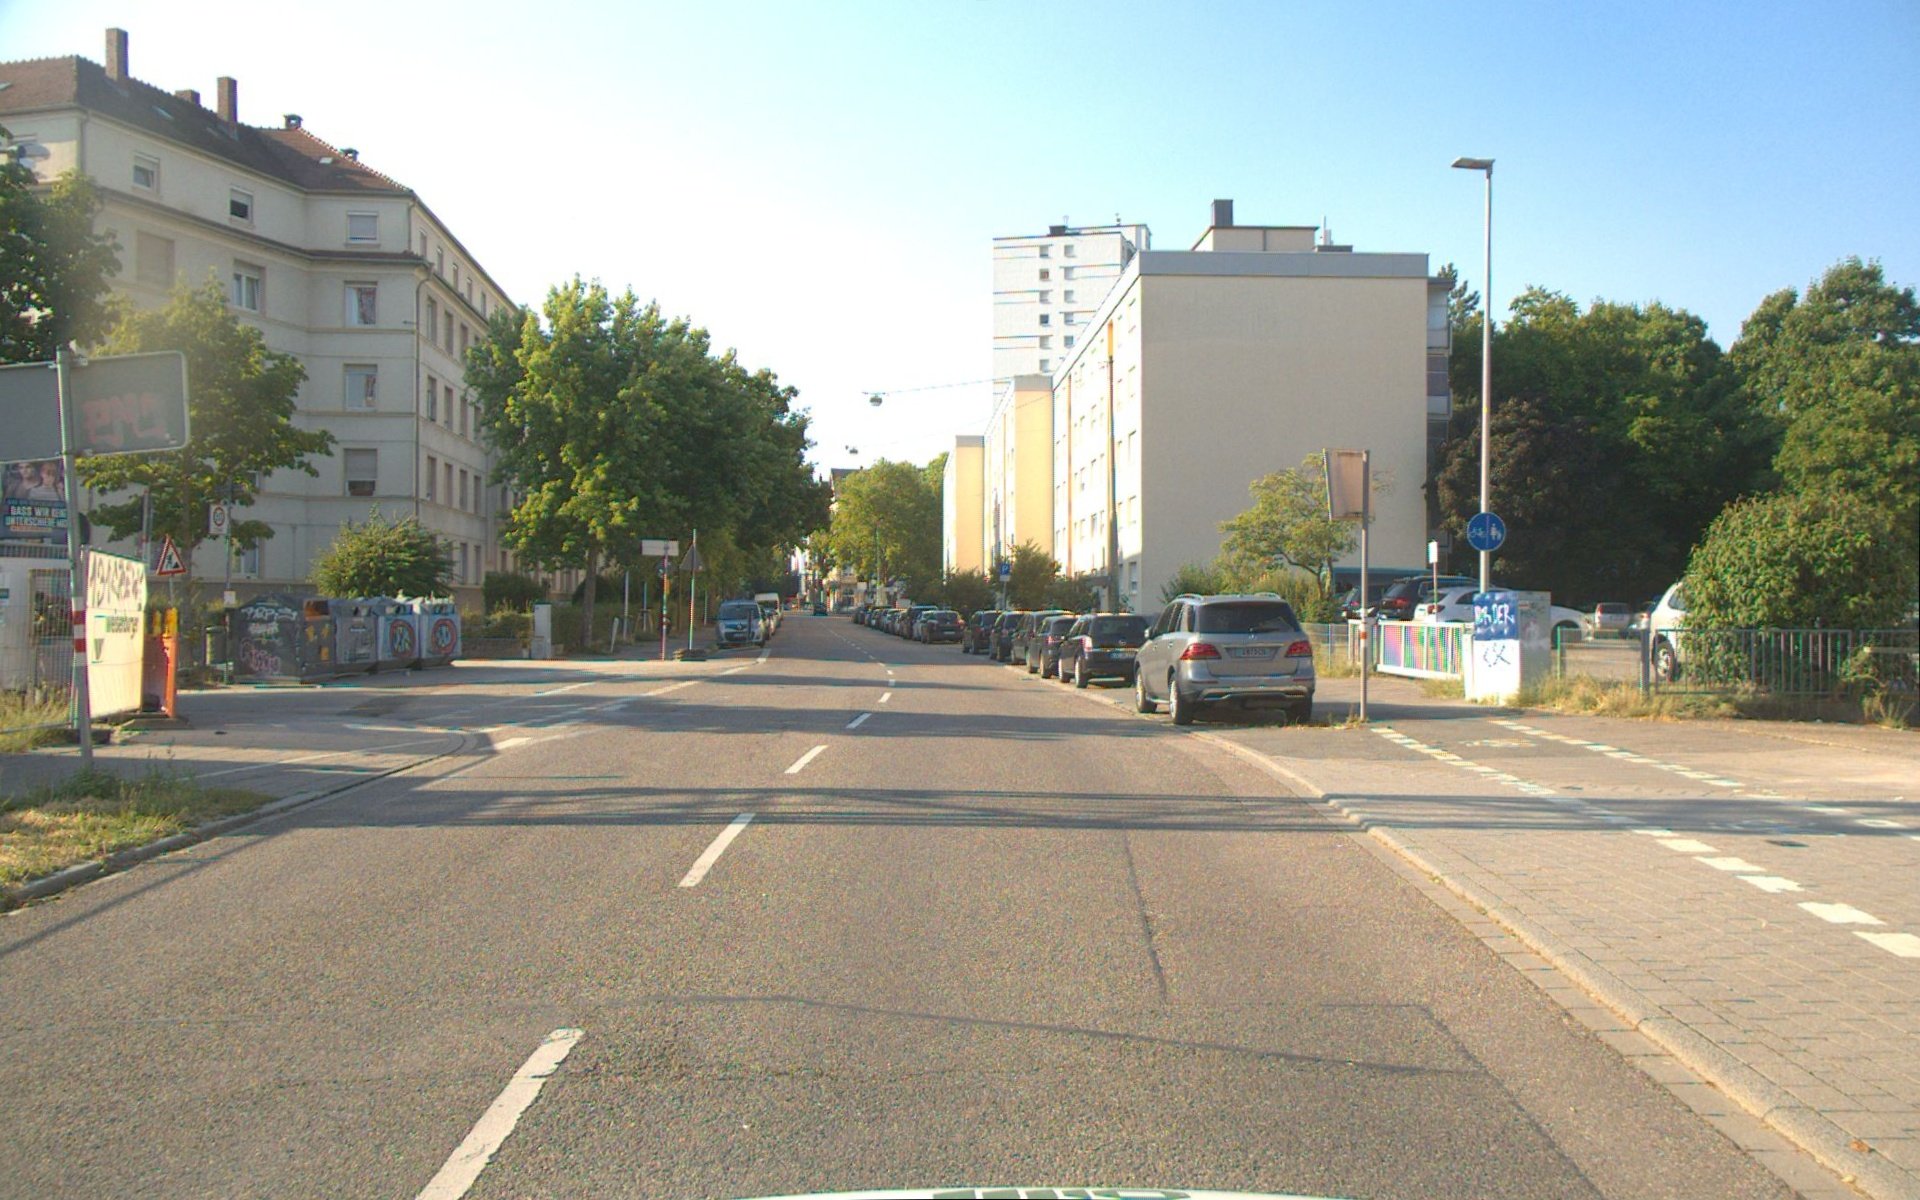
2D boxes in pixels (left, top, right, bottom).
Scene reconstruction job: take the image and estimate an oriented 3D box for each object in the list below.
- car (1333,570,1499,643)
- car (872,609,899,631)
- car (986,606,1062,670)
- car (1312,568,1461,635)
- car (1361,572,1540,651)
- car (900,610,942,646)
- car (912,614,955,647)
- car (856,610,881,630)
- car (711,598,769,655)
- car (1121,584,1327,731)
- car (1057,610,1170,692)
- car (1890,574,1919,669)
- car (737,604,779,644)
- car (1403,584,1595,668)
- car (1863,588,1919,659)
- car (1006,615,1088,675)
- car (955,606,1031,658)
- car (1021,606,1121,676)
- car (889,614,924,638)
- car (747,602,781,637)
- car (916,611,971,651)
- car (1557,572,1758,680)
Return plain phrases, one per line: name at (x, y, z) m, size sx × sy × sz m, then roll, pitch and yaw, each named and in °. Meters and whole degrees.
car at (12.421, 0.200, 45.230) m, size 3.908 × 1.825 × 1.998 m, roll 2°, pitch -2°, yaw -4°
car at (-5.657, 1.553, 125.596) m, size 1.801 × 1.528 × 4.167 m, roll 2°, pitch -2°, yaw -5°
car at (1.937, 1.176, 51.125) m, size 1.864 × 1.810 × 4.578 m, roll 2°, pitch -2°, yaw -3°
car at (12.874, 0.080, 50.048) m, size 3.910 × 1.825 × 1.997 m, roll 2°, pitch -2°, yaw -6°
car at (12.515, 0.309, 42.307) m, size 3.910 × 1.825 × 1.997 m, roll 2°, pitch -2°, yaw -6°
car at (-2.091, 1.483, 86.740) m, size 1.738 × 1.707 × 4.640 m, roll -4°, pitch -1°, yaw -6°
car at (-1.322, 1.516, 81.677) m, size 1.737 × 1.534 × 3.994 m, roll 2°, pitch -2°, yaw -6°
car at (-8.177, 1.811, 147.830) m, size 1.862 × 1.680 × 4.334 m, roll 2°, pitch 0°, yaw -8°
car at (-8.308, 1.017, 62.752) m, size 1.806 × 1.929 × 4.482 m, roll 5°, pitch -2°, yaw -5°
car at (3.695, 0.808, 24.057) m, size 1.883 × 1.810 × 4.806 m, roll -3°, pitch -1°, yaw -3°
car at (3.158, 1.062, 34.910) m, size 1.707 × 1.568 × 4.436 m, roll -1°, pitch -1°, yaw -3°
car at (20.532, 0.480, 32.080) m, size 3.910 × 1.825 × 1.997 m, roll 2°, pitch -2°, yaw -6°
car at (-9.565, 1.145, 78.077) m, size 1.838 × 1.790 × 4.681 m, roll 2°, pitch -2°, yaw -8°
car at (12.908, 0.643, 39.765) m, size 3.910 × 1.825 × 1.997 m, roll 2°, pitch -2°, yaw -6°
car at (25.822, 0.676, 42.506) m, size 4.191 × 1.755 × 1.997 m, roll 2°, pitch -2°, yaw -6°
car at (2.363, 1.216, 45.855) m, size 1.619 × 1.461 × 3.954 m, roll 0°, pitch 1°, yaw -7°
car at (1.112, 1.133, 58.014) m, size 1.851 × 1.588 × 4.937 m, roll -4°, pitch -1°, yaw -8°
car at (2.671, 1.017, 40.849) m, size 1.864 × 1.556 × 4.806 m, roll 2°, pitch -2°, yaw -3°
car at (-3.560, 1.740, 109.215) m, size 1.838 × 1.468 × 3.993 m, roll 2°, pitch -2°, yaw -8°
car at (-14.927, 1.516, 126.163) m, size 2.312 × 2.488 × 6.156 m, roll 2°, pitch -2°, yaw -6°
car at (-0.808, 1.421, 75.792) m, size 1.766 × 1.532 × 4.613 m, roll 9°, pitch -3°, yaw -8°
car at (12.105, 0.477, 28.980) m, size 1.620 × 1.691 × 3.996 m, roll 2°, pitch -2°, yaw -4°
